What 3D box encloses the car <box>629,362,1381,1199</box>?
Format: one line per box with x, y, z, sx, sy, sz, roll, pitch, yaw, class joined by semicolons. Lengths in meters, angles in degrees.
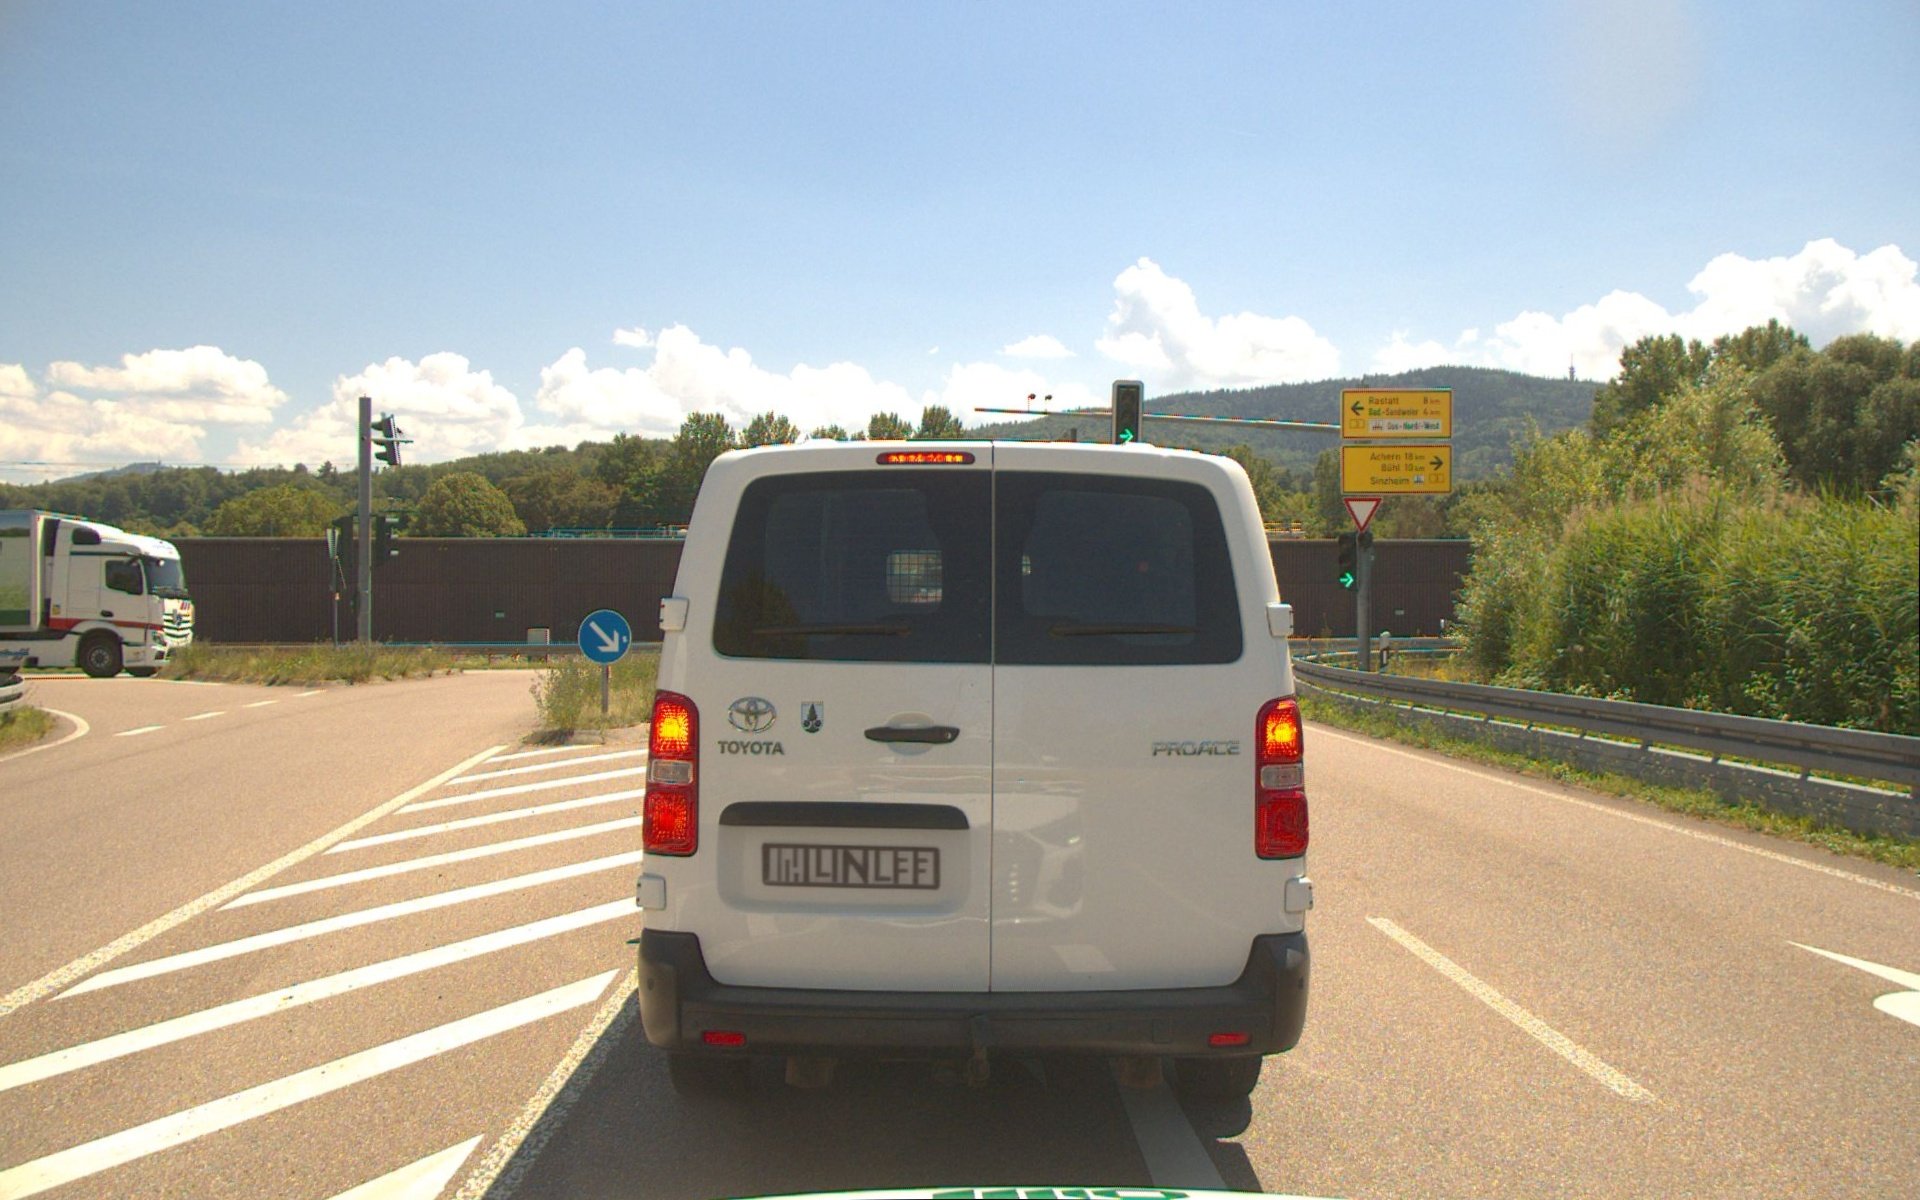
0.082;0.476;5.927;1.778;2.053;3.999;0;0;-1;car

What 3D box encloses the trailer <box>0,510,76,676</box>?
-29.520;-0.189;41.444;12.877;4.024;3.060;0;-1;-3;trailer

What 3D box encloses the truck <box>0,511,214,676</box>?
-22.391;-0.149;41.784;5.649;4.024;3.061;0;-1;-3;truck
